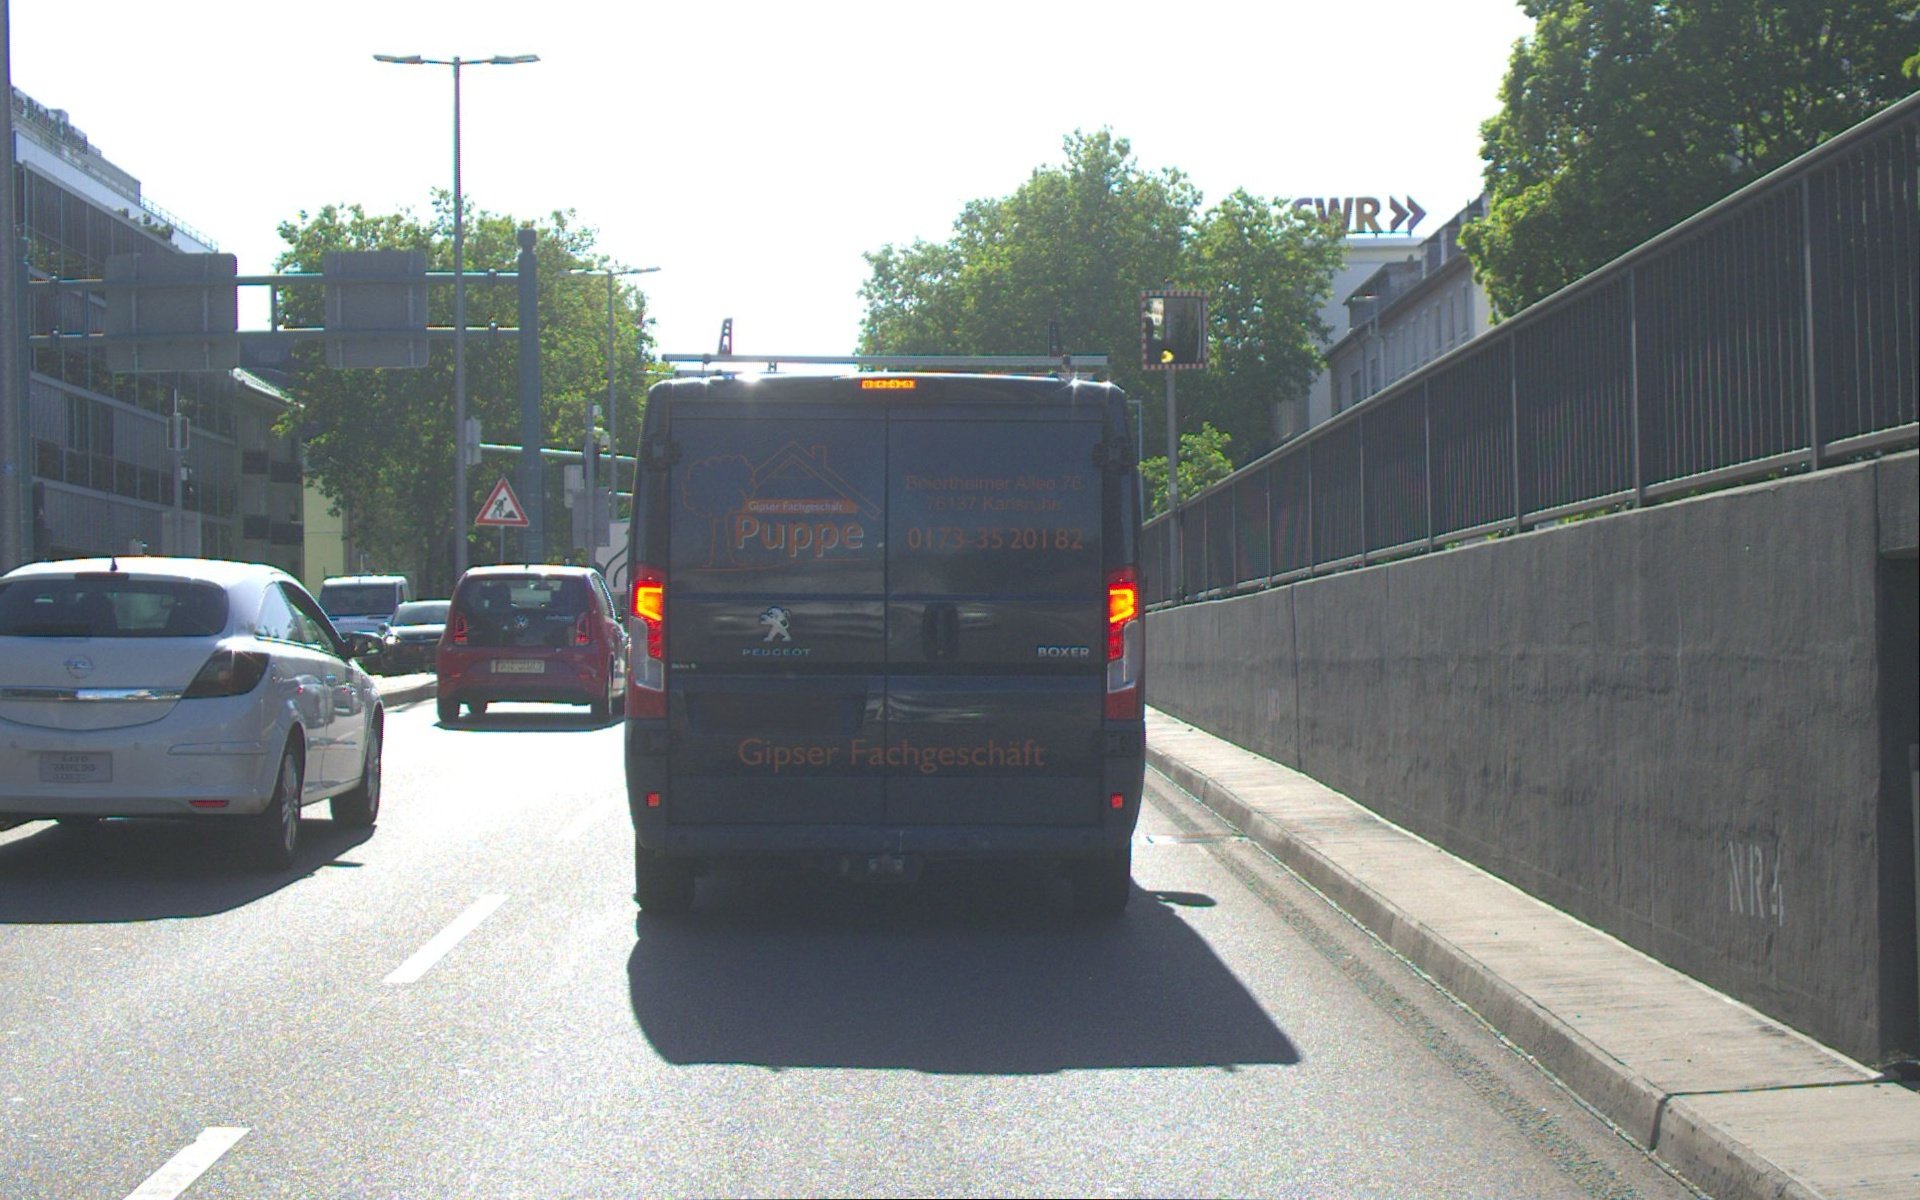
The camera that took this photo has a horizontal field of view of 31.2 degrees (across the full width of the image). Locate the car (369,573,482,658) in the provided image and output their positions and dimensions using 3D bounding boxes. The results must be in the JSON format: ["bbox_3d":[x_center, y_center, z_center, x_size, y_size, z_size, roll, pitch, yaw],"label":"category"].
[{"bbox_3d":[-10.090,0.281,65.133,1.609,1.452,3.609,-4,0,-2],"label":"car"}]

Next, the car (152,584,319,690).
[{"bbox_3d":[-9.986,0.482,47.614,1.538,1.295,3.928,-3,1,-2],"label":"car"}]

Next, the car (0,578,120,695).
[{"bbox_3d":[-12.525,0.484,46.336,1.538,1.460,3.718,-3,1,-2],"label":"car"}]

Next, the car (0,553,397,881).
[{"bbox_3d":[-3.858,0.486,16.923,1.619,1.398,3.852,1,1,-2],"label":"car"}]

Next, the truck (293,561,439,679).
[{"bbox_3d":[-13.590,0.468,79.016,2.229,2.519,6.129,-2,0,0],"label":"truck"}]

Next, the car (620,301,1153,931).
[{"bbox_3d":[-0.322,0.066,15.073,2.030,2.394,3.973,0,0,-1],"label":"car"}]

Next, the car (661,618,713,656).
[{"bbox_3d":[-11.607,1.567,146.332,1.936,1.550,3.923,1,0,-1],"label":"car"}]

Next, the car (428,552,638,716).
[{"bbox_3d":[-4.055,0.289,33.083,1.689,1.478,3.319,1,1,-2],"label":"car"}]
